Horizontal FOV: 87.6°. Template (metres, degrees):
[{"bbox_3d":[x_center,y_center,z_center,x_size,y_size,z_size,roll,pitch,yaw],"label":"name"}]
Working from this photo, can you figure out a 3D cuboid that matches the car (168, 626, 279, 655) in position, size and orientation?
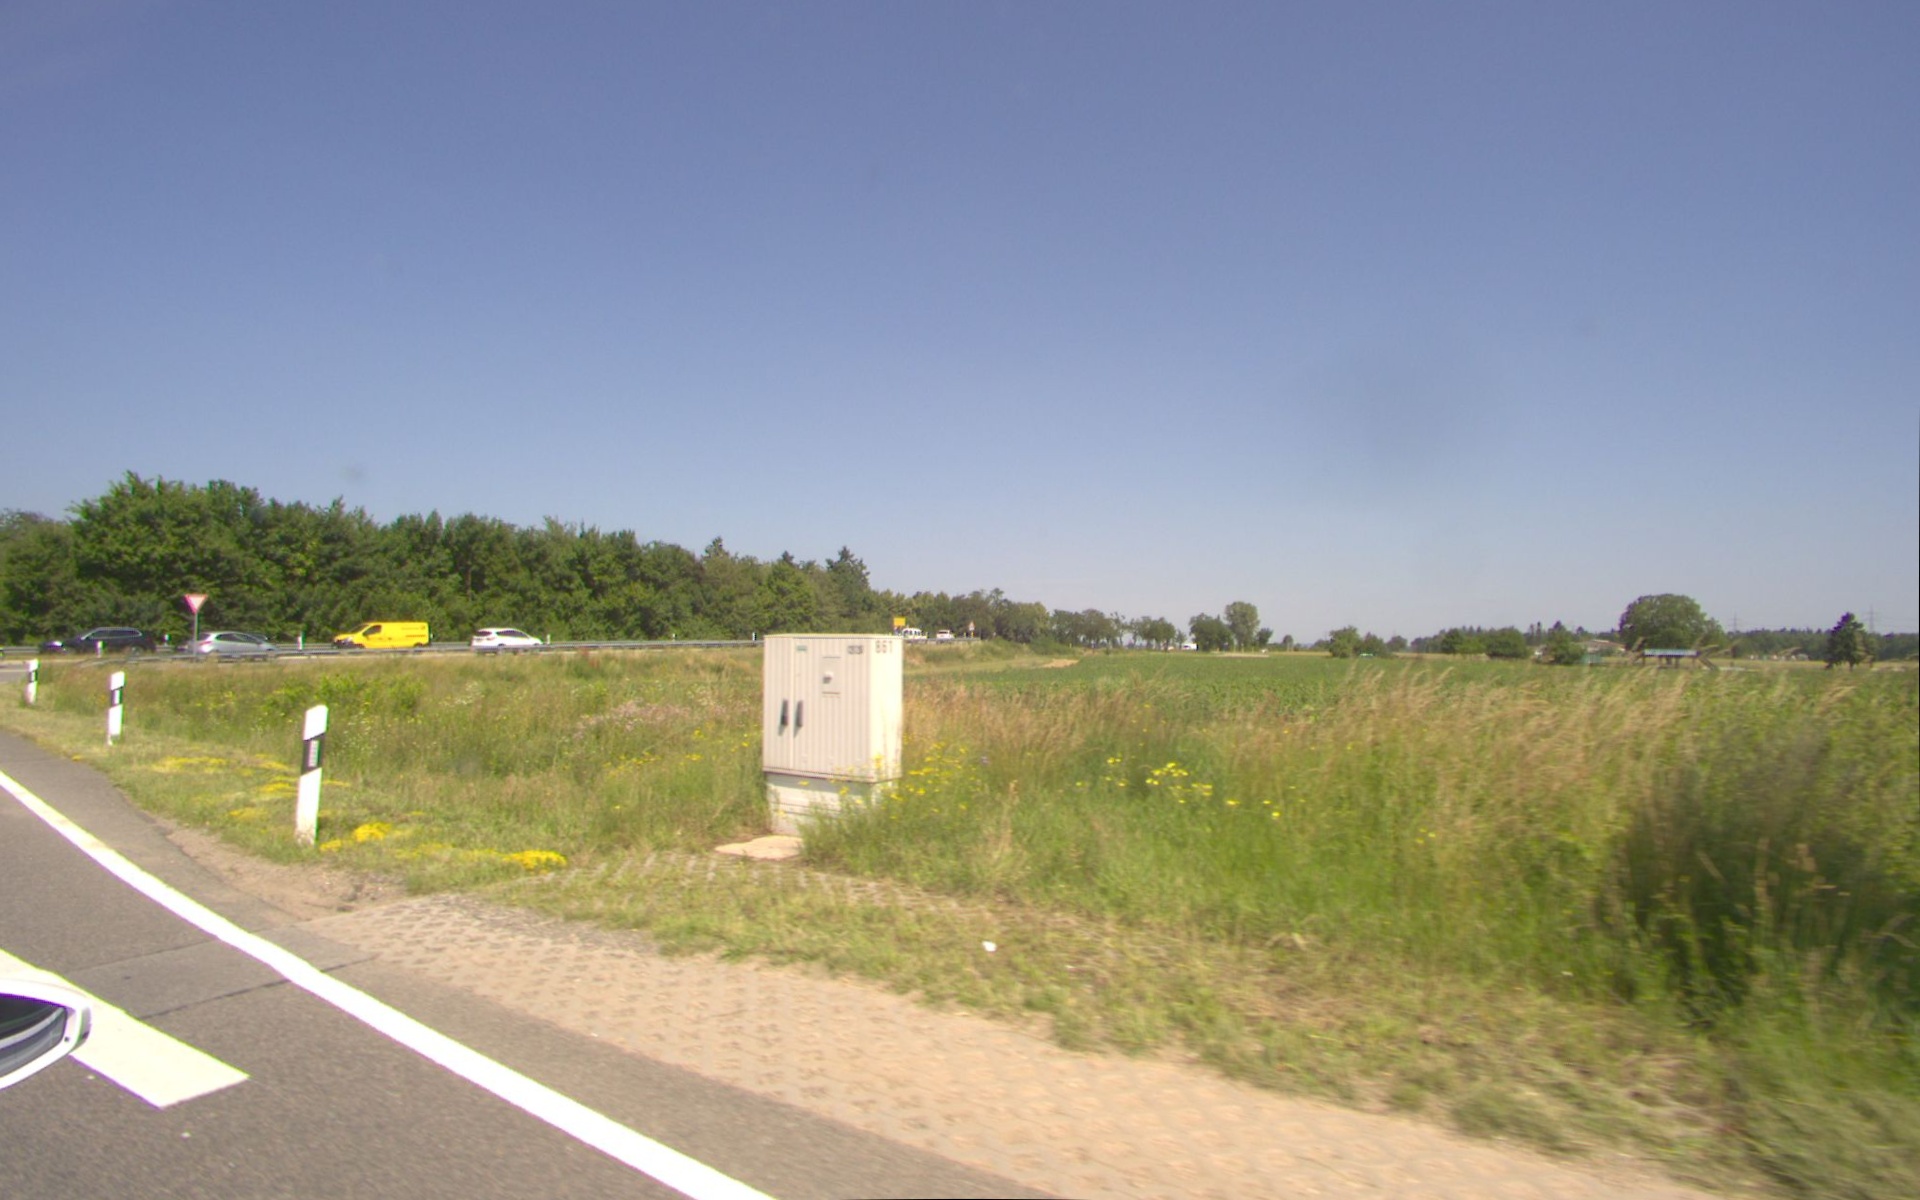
[{"bbox_3d":[-40.717,2.234,55.460,1.831,1.533,4.663,-2,-2,40],"label":"car"}]

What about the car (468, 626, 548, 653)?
[{"bbox_3d":[-27.783,2.418,61.747,1.711,1.587,4.470,-1,-2,25],"label":"car"}]

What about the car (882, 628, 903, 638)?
[{"bbox_3d":[-10.341,5.051,152.911,1.823,1.533,4.684,1,-2,-23],"label":"car"}]

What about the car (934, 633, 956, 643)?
[{"bbox_3d":[-1.828,4.630,122.193,1.685,1.204,3.998,-1,-2,14],"label":"car"}]

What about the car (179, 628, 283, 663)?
[{"bbox_3d":[-34.934,2.160,48.068,1.711,1.587,3.683,-1,-2,25],"label":"car"}]

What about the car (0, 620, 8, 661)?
[{"bbox_3d":[-39.699,1.603,38.521,4.440,1.587,1.722,0,-1,-44],"label":"car"}]

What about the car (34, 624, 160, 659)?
[{"bbox_3d":[-42.784,2.047,49.724,1.744,1.618,4.474,-1,-2,35],"label":"car"}]

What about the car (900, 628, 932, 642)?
[{"bbox_3d":[-4.806,3.841,109.759,1.691,1.589,3.984,-1,-2,29],"label":"car"}]

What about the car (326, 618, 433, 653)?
[{"bbox_3d":[-35.153,2.142,60.809,1.973,2.039,5.310,-1,-2,34],"label":"car"}]
